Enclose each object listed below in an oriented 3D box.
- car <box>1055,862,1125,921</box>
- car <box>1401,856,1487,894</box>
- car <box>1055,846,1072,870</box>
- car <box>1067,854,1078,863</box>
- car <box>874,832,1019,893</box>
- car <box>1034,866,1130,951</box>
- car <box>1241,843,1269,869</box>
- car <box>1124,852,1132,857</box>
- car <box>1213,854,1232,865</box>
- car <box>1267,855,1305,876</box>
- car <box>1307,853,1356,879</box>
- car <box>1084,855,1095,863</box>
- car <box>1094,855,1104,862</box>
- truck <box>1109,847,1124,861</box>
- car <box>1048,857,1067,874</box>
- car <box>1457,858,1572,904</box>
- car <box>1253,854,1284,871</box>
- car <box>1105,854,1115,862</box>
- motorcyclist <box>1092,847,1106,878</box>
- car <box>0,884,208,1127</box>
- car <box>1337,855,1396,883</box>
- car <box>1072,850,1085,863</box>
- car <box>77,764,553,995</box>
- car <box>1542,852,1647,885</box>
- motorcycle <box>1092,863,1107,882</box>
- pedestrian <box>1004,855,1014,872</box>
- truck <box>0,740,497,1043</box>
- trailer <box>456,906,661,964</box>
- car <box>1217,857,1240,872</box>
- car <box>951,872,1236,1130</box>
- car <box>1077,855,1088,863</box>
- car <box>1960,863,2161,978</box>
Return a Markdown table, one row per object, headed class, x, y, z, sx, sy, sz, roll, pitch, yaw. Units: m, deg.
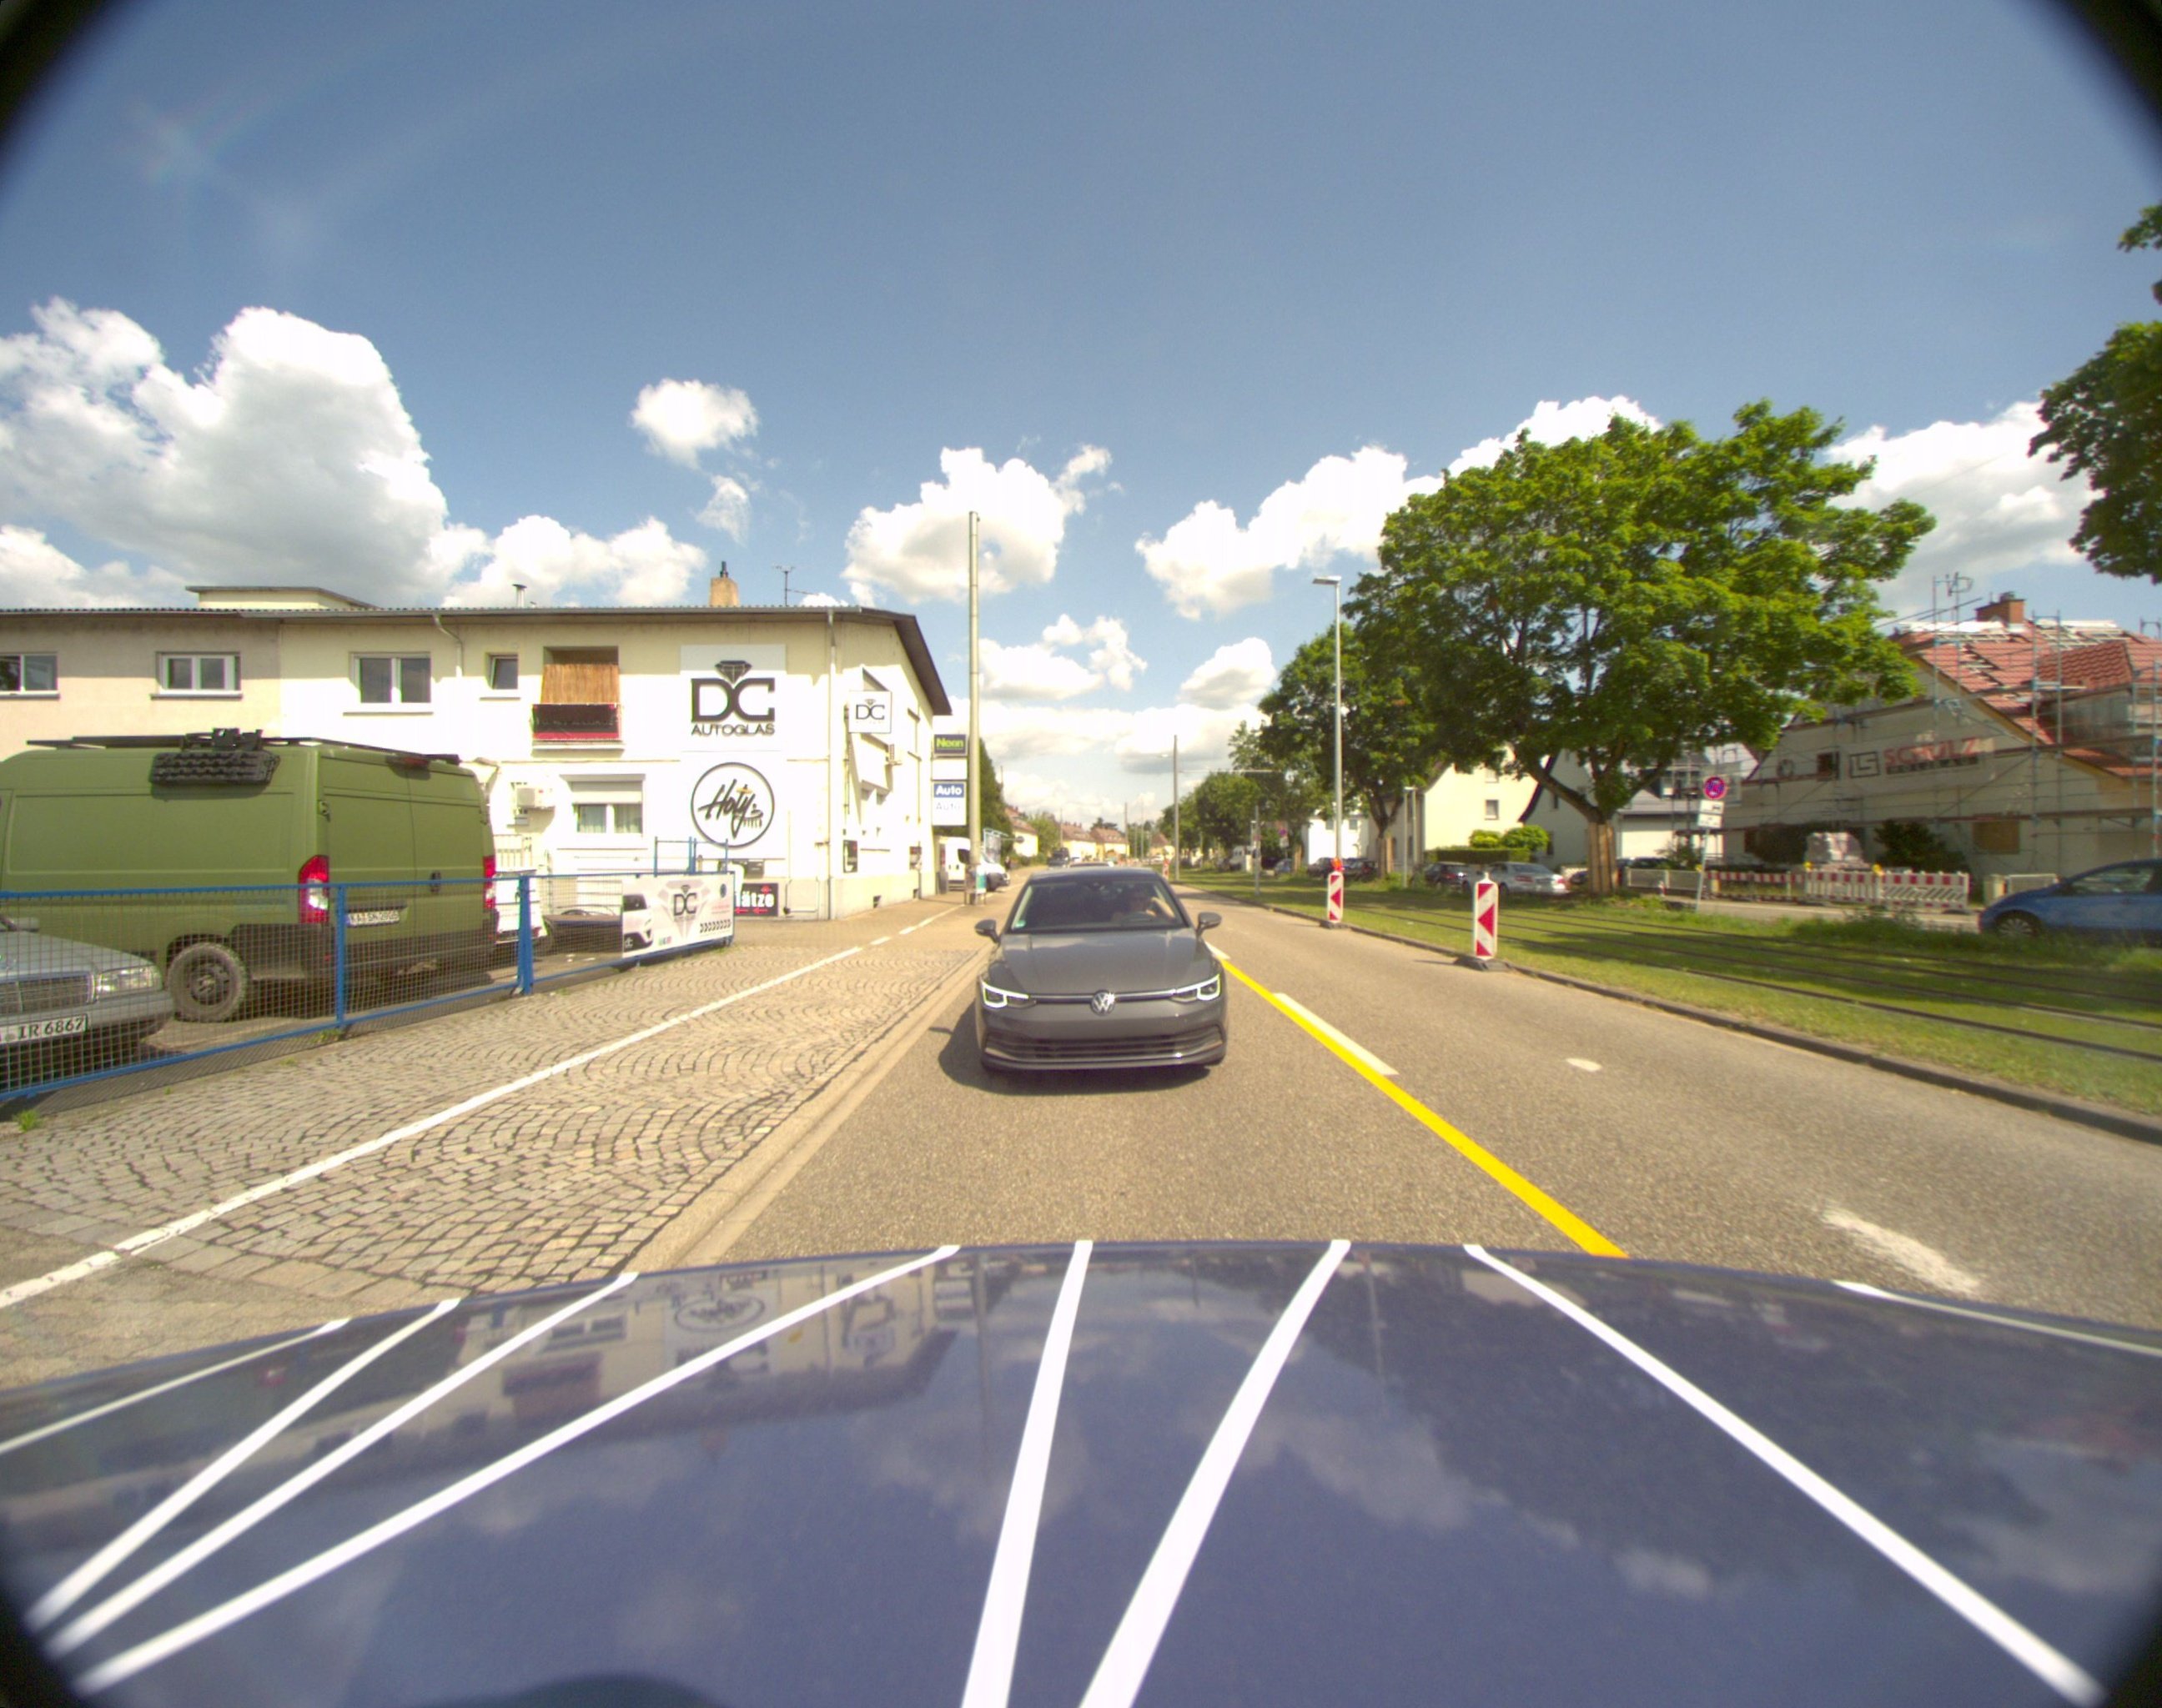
| class | x | y | z | sx | sy | sz | roll | pitch | yaw |
| --- | --- | --- | --- | --- | --- | --- | --- | --- | --- |
| car | 0.263 | 0.991 | 21.497 | 1.787 | 1.470 | 4.009 | 0 | 0 | 1 |
| car | 16.592 | 0.919 | 35.034 | 1.755 | 1.602 | 4.606 | 0 | 0 | 0 |
| car | -1.913 | 0.415 | 82.854 | 1.720 | 2.526 | 5.794 | 0 | 0 | 0 |
| car | -1.359 | 0.743 | 122.964 | 1.720 | 1.470 | 4.009 | 0 | 0 | 0 |
| car | -5.929 | 0.384 | 33.985 | 5.982 | 2.362 | 2.000 | 3 | 0 | 3 |
| car | 0.040 | 1.008 | 15.648 | 1.719 | 1.470 | 4.009 | 0 | 0 | 1 |
| car | 17.650 | 0.201 | 77.083 | 1.755 | 2.601 | 4.606 | 0 | 0 | 0 |
| car | 13.542 | 0.243 | 218.482 | 1.718 | 1.470 | 4.013 | 0 | 0 | 13 |
| car | 19.964 | 0.749 | 107.177 | 1.755 | 1.602 | 4.606 | 0 | 0 | 0 |
| car | 16.498 | 0.920 | 61.361 | 1.755 | 1.602 | 4.606 | 0 | 0 | 0 |
| car | 16.682 | 0.767 | 50.912 | 1.755 | 1.602 | 4.606 | 0 | 0 | 0 |
| car | 1.823 | 0.994 | 155.307 | 1.718 | 1.470 | 4.011 | 0 | 0 | 8 |
| car | 4.114 | 1.002 | 172.741 | 1.718 | 1.470 | 4.011 | 0 | 0 | 8 |
| truck | 9.416 | 0.029 | 201.140 | 2.590 | 3.431 | 8.585 | 0 | 0 | 11 |
| car | -2.156 | 1.070 | 70.992 | 1.720 | 1.470 | 4.009 | 0 | 0 | 0 |
| car | 16.391 | 0.968 | 29.011 | 1.755 | 1.602 | 4.606 | 0 | 0 | 0 |
| car | 17.589 | 0.760 | 71.500 | 1.755 | 1.602 | 4.606 | 0 | 0 | 0 |
| car | 5.112 | 0.718 | 134.245 | 1.719 | 1.405 | 4.262 | 0 | 0 | 1 |
| motorcyclist | 1.147 | 0.539 | 48.509 | 0.879 | 1.900 | 1.113 | 0 | 0 | 0 |
| car | -8.435 | 0.920 | 4.815 | 4.206 | 1.388 | 1.804 | 0 | 0 | 8 |
| car | 16.904 | 0.854 | 45.272 | 1.755 | 1.602 | 4.606 | 0 | 0 | 0 |
| car | -0.422 | 0.405 | 136.328 | 1.719 | 2.360 | 5.211 | 0 | 0 | 5 |
| car | -9.453 | 0.304 | 9.657 | 4.209 | 2.653 | 1.803 | 0 | 0 | 0 |
| car | 25.514 | 0.723 | 37.836 | 4.047 | 1.602 | 1.757 | 0 | 0 | 1 |
| motorcycle | 1.165 | 1.178 | 48.588 | 0.886 | 1.164 | 2.901 | 0 | 0 | -1 |
| pedestrian | -6.605 | 0.849 | 69.947 | 0.816 | 1.577 | 0.918 | 0 | 0 | 1 |
| truck | -8.622 | 0.331 | 7.572 | 3.997 | 2.592 | 2.069 | 0 | 0 | 1 |
| trailer | -8.060 | 1.240 | 11.841 | 2.329 | 0.762 | 1.269 | 0 | 0 | 2 |
| car | 16.937 | 1.156 | 87.274 | 1.755 | 1.602 | 4.606 | 0 | 0 | 0 |
| car | 0.101 | 0.940 | 6.600 | 1.719 | 1.470 | 4.009 | 0 | 0 | 1 |
| car | 0.347 | 0.993 | 146.559 | 1.719 | 1.470 | 4.011 | 0 | 0 | 6 |
| car | 16.229 | 0.961 | 11.237 | 1.755 | 1.602 | 4.050 | 0 | 0 | 0 |
